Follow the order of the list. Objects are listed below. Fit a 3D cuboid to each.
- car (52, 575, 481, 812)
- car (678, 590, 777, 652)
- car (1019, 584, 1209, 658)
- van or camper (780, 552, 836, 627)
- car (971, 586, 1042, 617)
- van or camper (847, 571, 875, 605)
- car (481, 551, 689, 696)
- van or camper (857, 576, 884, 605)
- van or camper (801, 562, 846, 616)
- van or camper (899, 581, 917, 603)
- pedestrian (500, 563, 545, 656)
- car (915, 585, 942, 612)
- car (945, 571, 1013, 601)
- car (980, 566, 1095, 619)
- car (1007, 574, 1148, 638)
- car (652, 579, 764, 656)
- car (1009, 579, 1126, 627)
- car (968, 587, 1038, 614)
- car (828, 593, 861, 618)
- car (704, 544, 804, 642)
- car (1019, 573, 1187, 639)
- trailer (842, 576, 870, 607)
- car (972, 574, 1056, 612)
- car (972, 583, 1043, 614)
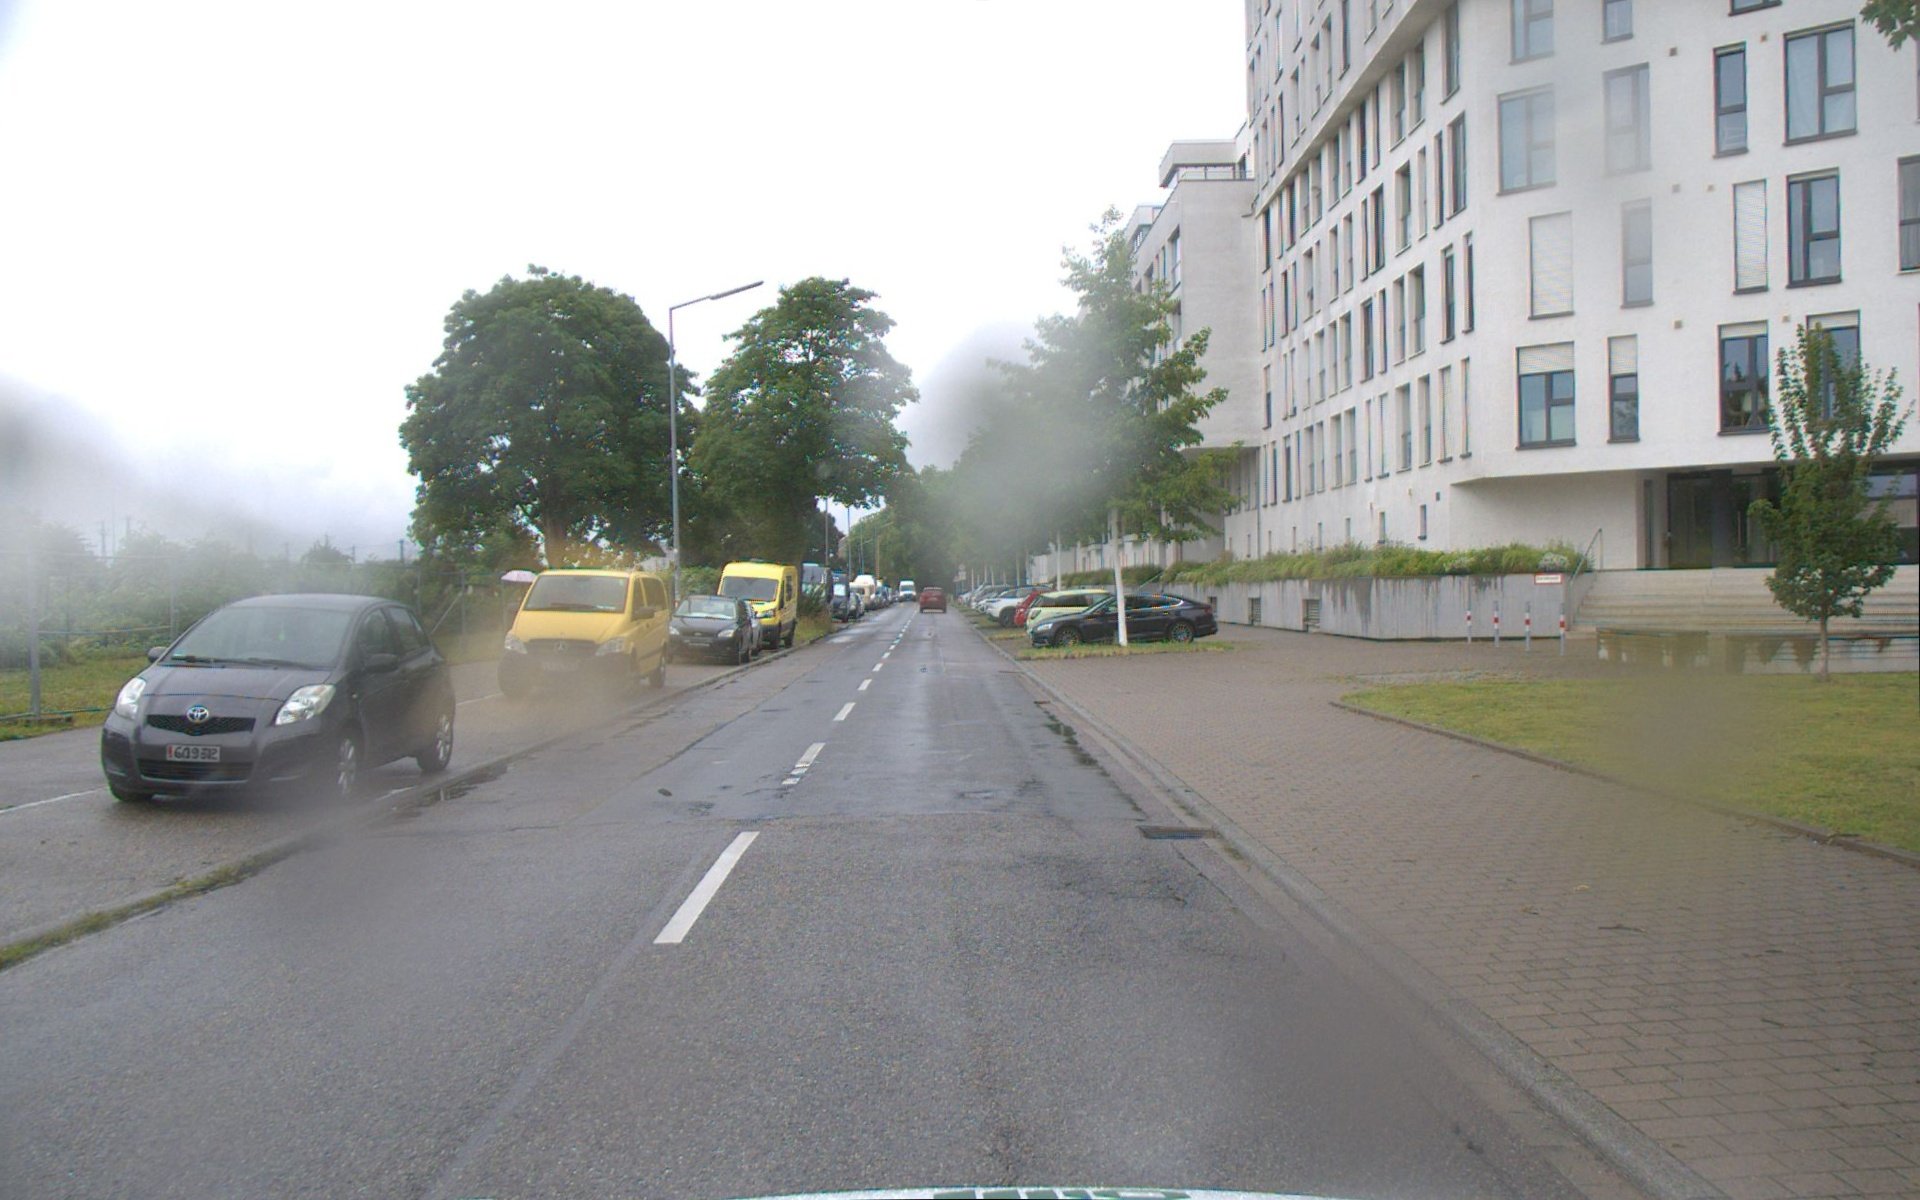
[{"bbox_3d":[-5.318,0.620,13.312,1.767,1.588,4.032,1,1,-1],"label":"car"},{"bbox_3d":[-6.054,0.522,43.656,1.970,1.459,5.338,2,0,-2],"label":"car"},{"bbox_3d":[3.805,0.511,41.318,4.479,1.523,1.825,-4,0,-2],"label":"car"},{"bbox_3d":[-6.799,-0.427,74.422,2.052,3.148,6.421,2,0,-2],"label":"van or camper"},{"bbox_3d":[2.661,0.093,95.057,3.907,1.536,1.684,-3,1,-2],"label":"car"},{"bbox_3d":[-8.296,-0.973,138.729,1.953,2.810,7.897,1,0,-1],"label":"van or camper"},{"bbox_3d":[-5.708,0.329,26.029,1.976,1.990,6.063,1,0,-1],"label":"car"},{"bbox_3d":[-8.157,-0.860,151.264,2.145,2.505,6.376,1,0,-1],"label":"van or camper"},{"bbox_3d":[-7.375,-0.573,89.992,2.052,2.763,7.570,2,0,-3],"label":"van or camper"},{"bbox_3d":[-6.371,-0.957,203.540,1.953,2.541,7.177,-2,0,0],"label":"van or camper"},{"bbox_3d":[-9.726,0.213,36.797,0.727,2.049,0.980,0,0,0],"label":"pedestrian"},{"bbox_3d":[-2.114,-0.056,111.503,1.720,1.736,3.999,-1,-1,-1],"label":"car"},{"bbox_3d":[1.319,-0.990,116.084,4.528,2.054,1.856,-1,1,-6],"label":"car"},{"bbox_3d":[3.175,-0.313,68.549,4.452,1.714,1.884,-6,0,-4],"label":"car"},{"bbox_3d":[3.395,0.181,48.273,3.906,1.582,1.634,-4,0,-1],"label":"car"},{"bbox_3d":[-5.755,0.391,38.329,1.953,1.622,5.015,2,0,-2],"label":"car"},{"bbox_3d":[3.762,0.123,58.380,3.907,1.477,1.820,-3,-1,-2],"label":"car"},{"bbox_3d":[2.653,0.008,102.646,4.214,1.453,1.636,-3,0,-3],"label":"car"},{"bbox_3d":[-7.094,0.324,102.080,1.738,1.529,4.827,1,0,-1],"label":"car"},{"bbox_3d":[-6.145,-0.213,50.184,2.147,2.741,6.081,2,0,1],"label":"car"},{"bbox_3d":[3.907,0.159,45.669,4.397,1.507,1.691,-4,0,-2],"label":"car"},{"bbox_3d":[-7.797,-0.672,124.625,2.017,2.256,5.792,1,0,-3],"label":"trailer"},{"bbox_3d":[2.926,-0.375,90.256,4.387,1.716,1.935,-4,1,-3],"label":"car"},{"bbox_3d":[2.882,-0.087,100.250,4.080,1.652,1.896,-3,0,-4],"label":"car"}]
